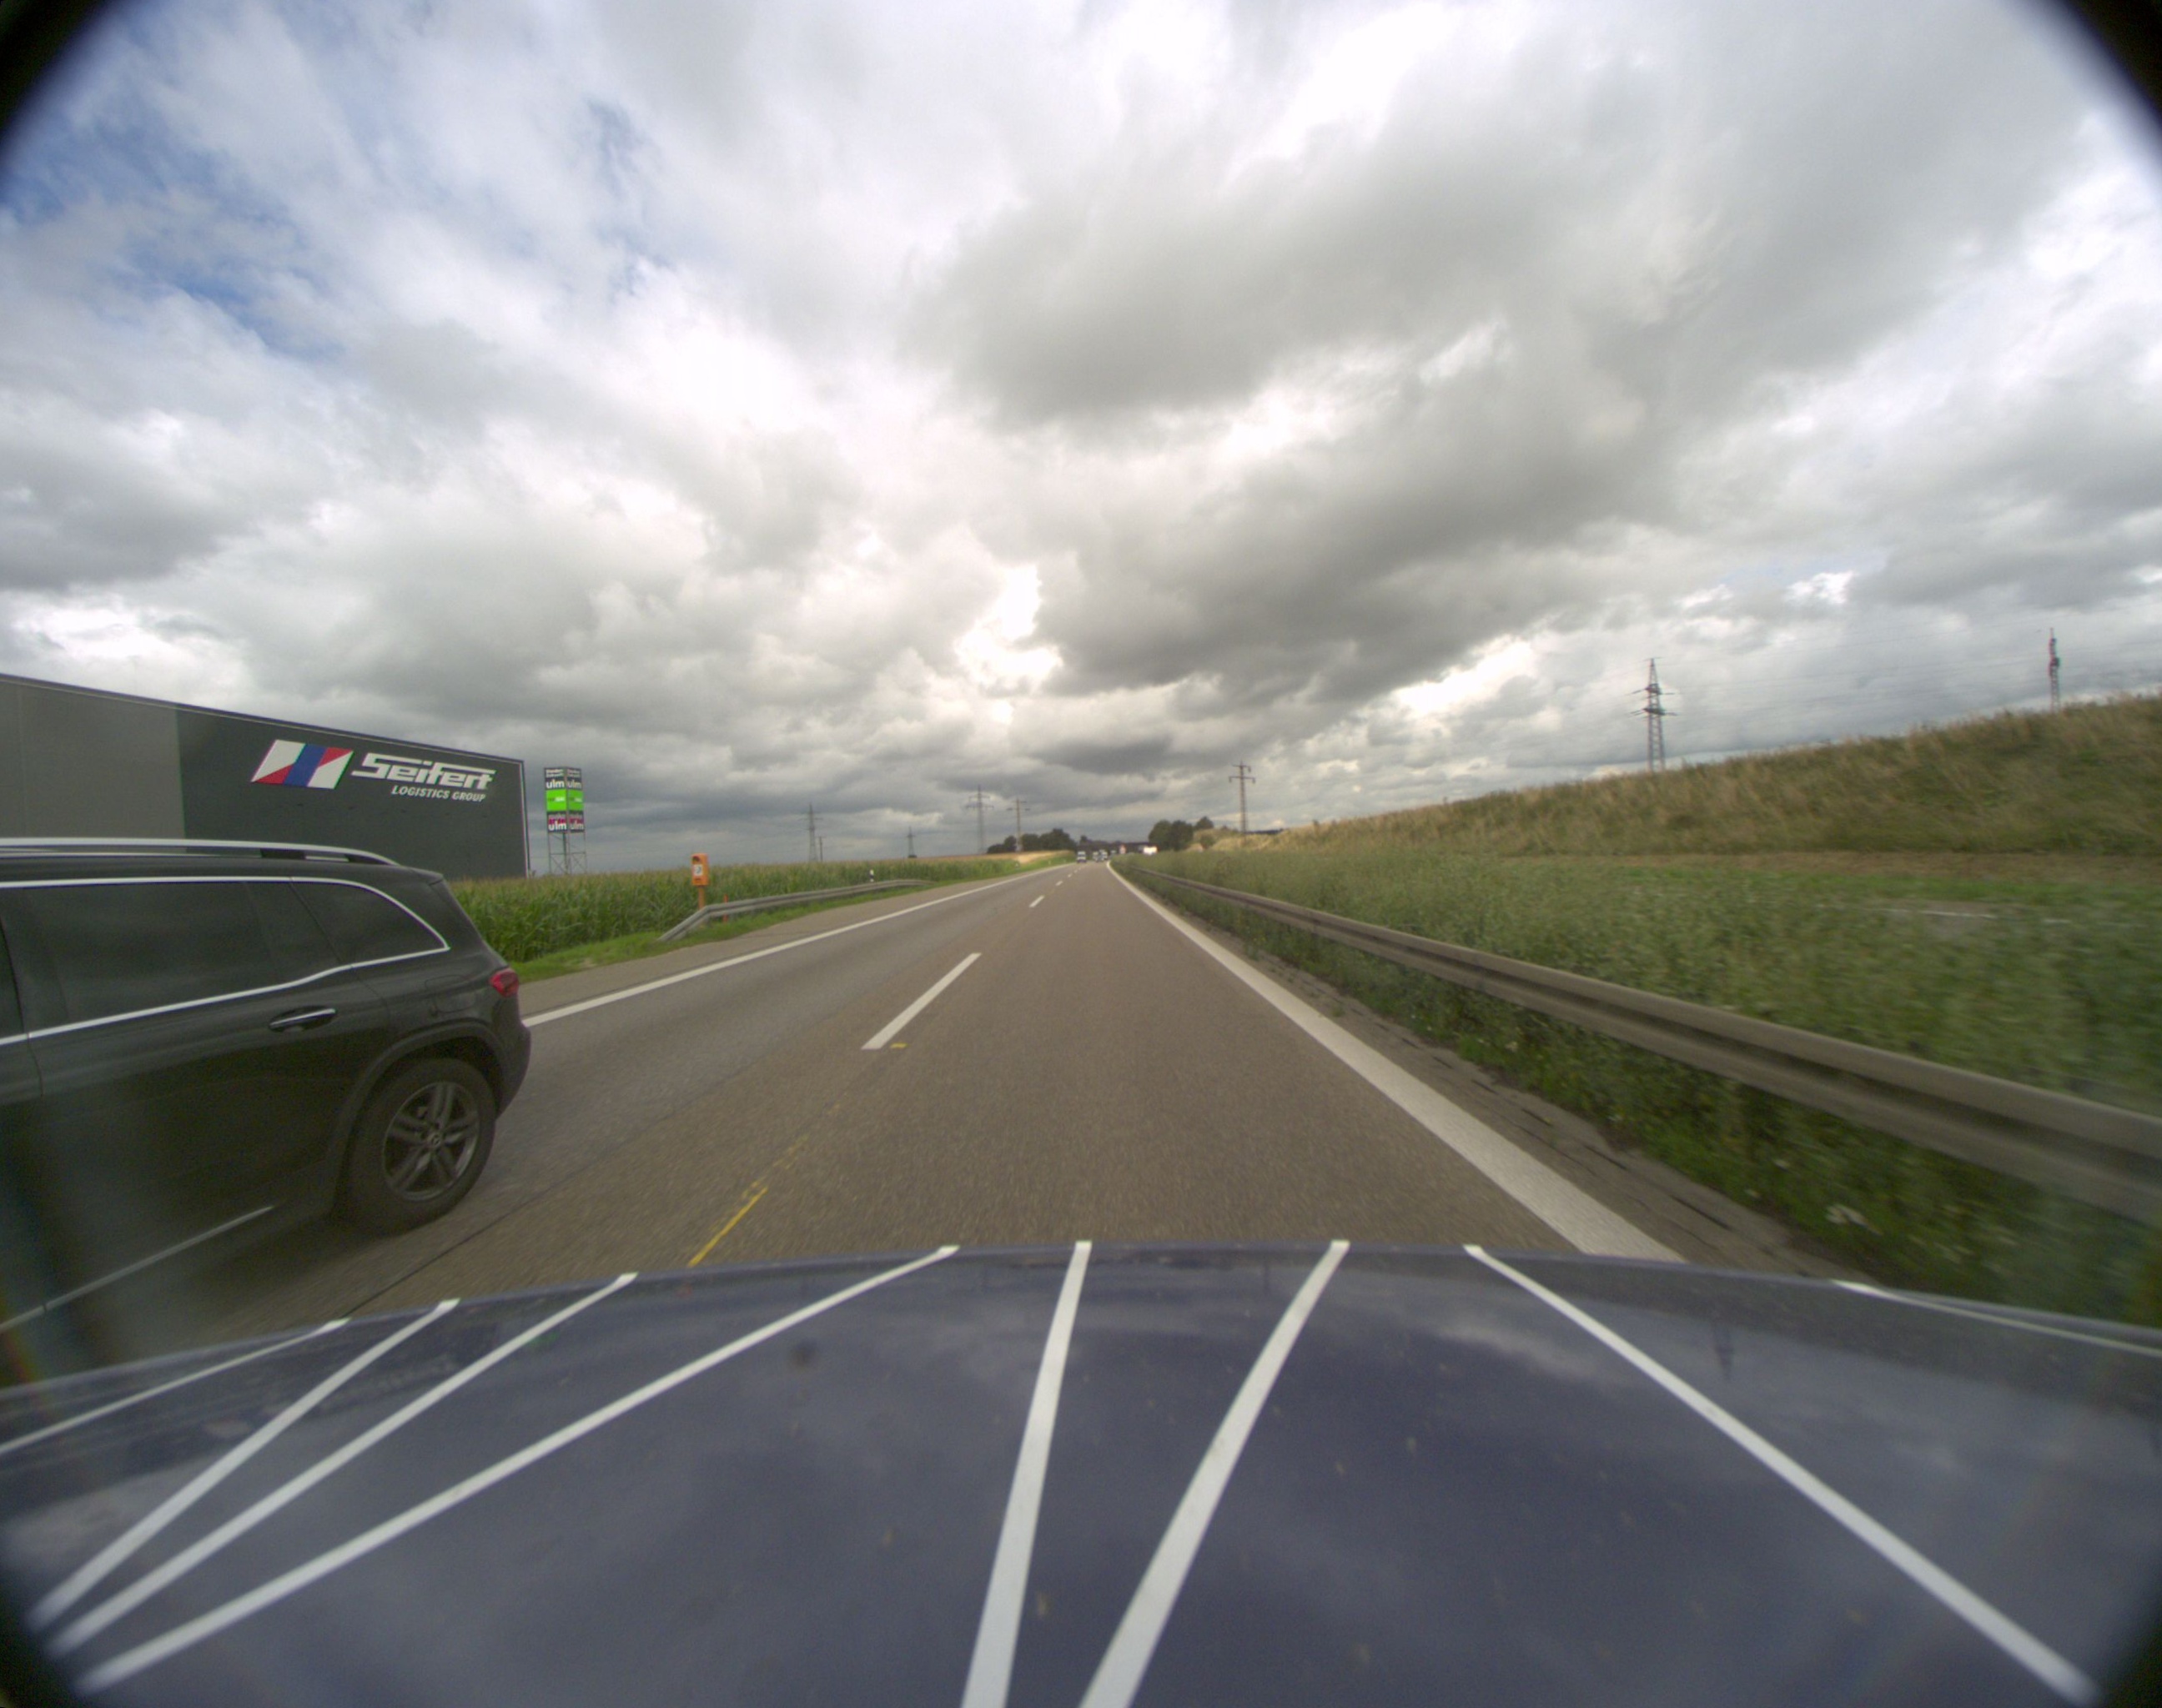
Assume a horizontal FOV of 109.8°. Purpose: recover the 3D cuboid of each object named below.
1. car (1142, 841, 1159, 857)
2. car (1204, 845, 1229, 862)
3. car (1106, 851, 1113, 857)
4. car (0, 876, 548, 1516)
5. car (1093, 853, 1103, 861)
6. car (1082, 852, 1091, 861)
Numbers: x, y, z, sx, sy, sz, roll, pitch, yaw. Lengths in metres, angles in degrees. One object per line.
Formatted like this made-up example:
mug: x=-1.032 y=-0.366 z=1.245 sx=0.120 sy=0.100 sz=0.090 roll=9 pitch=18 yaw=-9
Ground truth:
car: x=10.217 y=-0.708 z=111.849 sx=2.129 sy=2.254 sz=5.452 roll=-3 pitch=1 yaw=2
car: x=13.286 y=-0.060 z=74.624 sx=1.736 sy=1.547 sz=4.000 roll=-3 pitch=1 yaw=1
car: x=9.481 y=-0.026 z=254.273 sx=1.998 sy=1.698 sz=4.000 roll=-2 pitch=0 yaw=1
car: x=-3.774 y=0.963 z=1.778 sx=1.838 sy=1.600 sz=4.360 roll=-2 pitch=1 yaw=1
car: x=4.085 y=0.755 z=179.261 sx=1.998 sy=1.695 sz=4.663 roll=-4 pitch=-1 yaw=3
car: x=1.263 y=0.584 z=177.851 sx=1.998 sy=1.812 sz=4.342 roll=-2 pitch=0 yaw=2
